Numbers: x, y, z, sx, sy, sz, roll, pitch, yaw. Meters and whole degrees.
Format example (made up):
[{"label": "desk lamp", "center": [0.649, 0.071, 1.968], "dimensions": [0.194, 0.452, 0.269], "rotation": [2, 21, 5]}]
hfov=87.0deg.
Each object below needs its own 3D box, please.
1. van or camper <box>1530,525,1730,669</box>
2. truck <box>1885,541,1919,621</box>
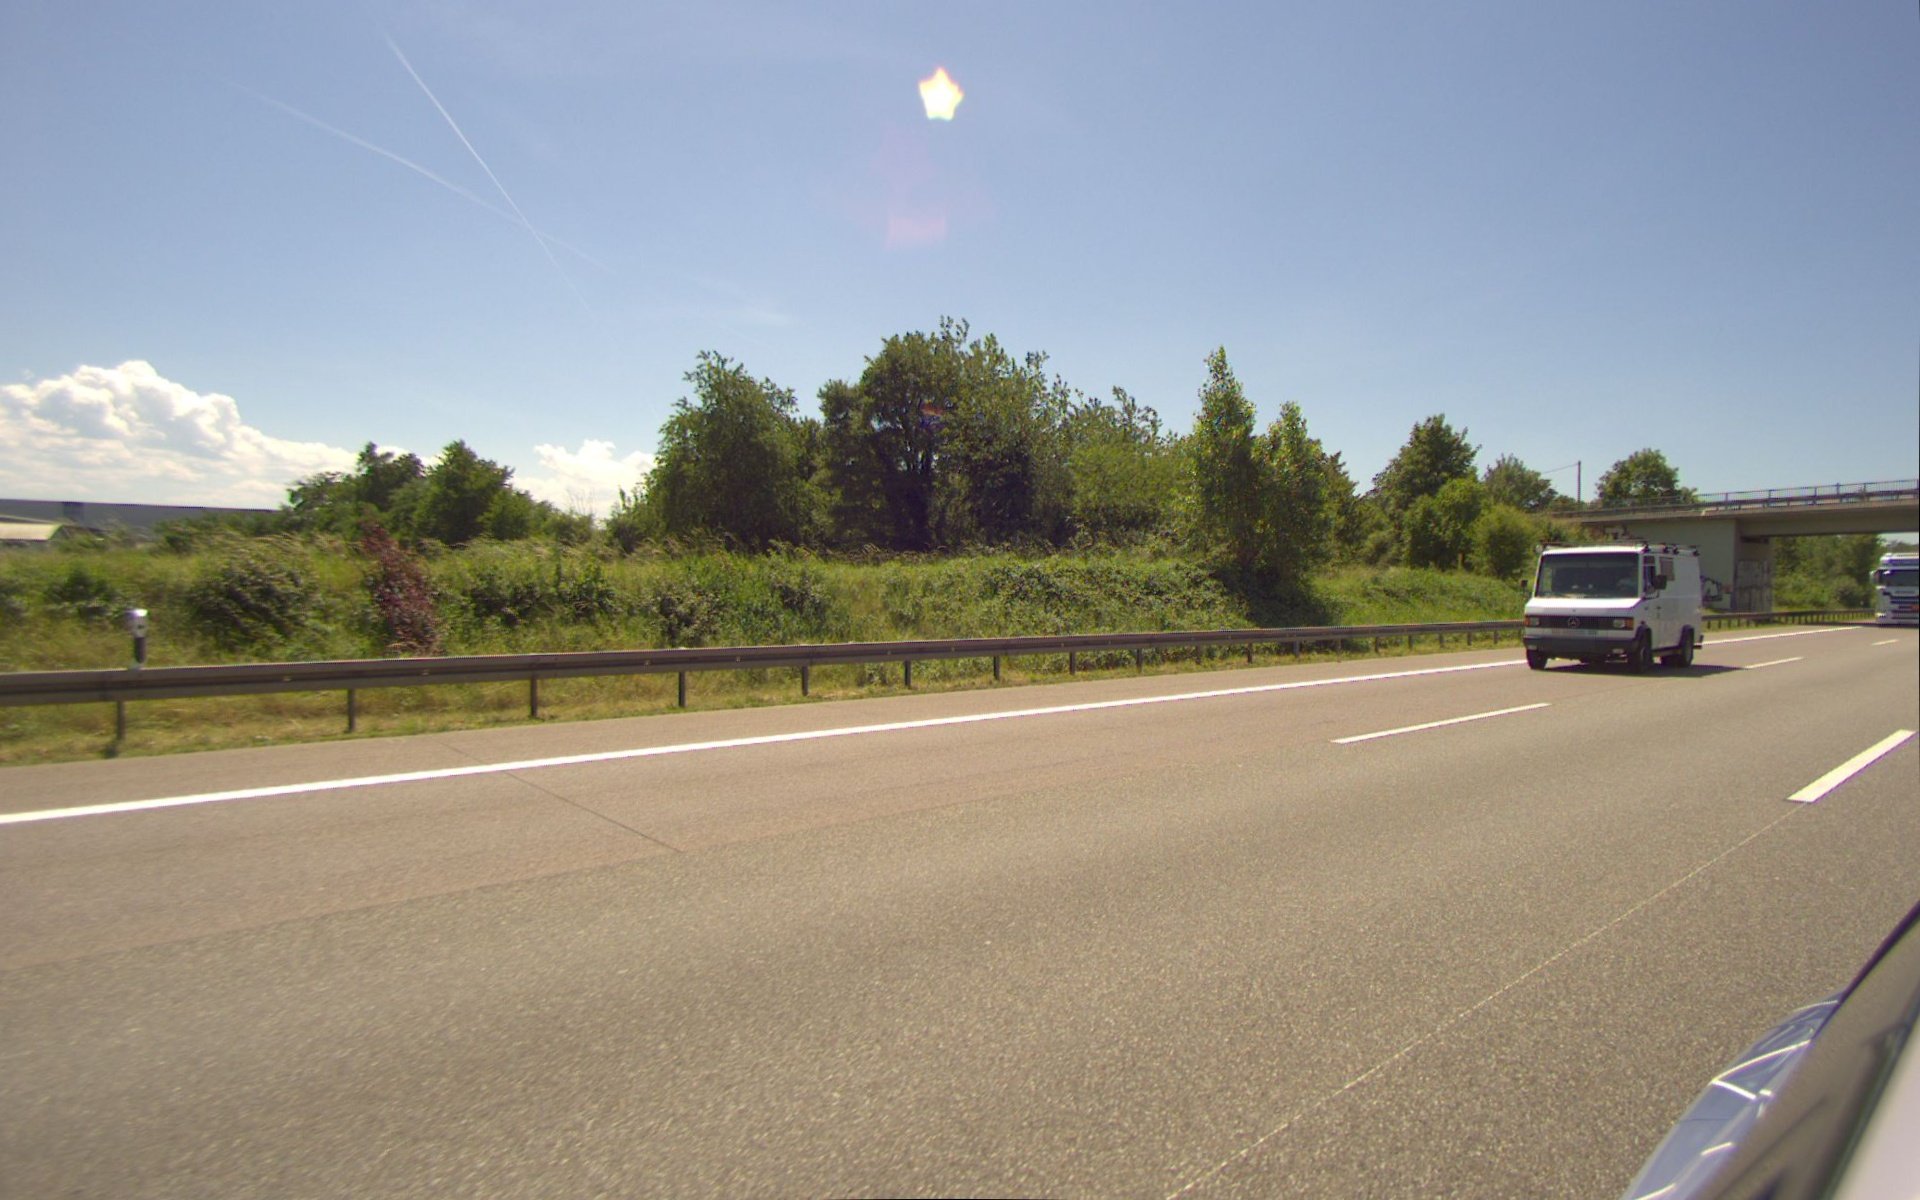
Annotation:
[{"label": "van or camper", "center": [14.842, -0.089, 22.227], "dimensions": [6.257, 2.737, 2.117], "rotation": [-1, 0, -41]}, {"label": "truck", "center": [54.336, -1.052, 56.287], "dimensions": [13.123, 4.097, 2.802], "rotation": [-1, -1, -41]}]
